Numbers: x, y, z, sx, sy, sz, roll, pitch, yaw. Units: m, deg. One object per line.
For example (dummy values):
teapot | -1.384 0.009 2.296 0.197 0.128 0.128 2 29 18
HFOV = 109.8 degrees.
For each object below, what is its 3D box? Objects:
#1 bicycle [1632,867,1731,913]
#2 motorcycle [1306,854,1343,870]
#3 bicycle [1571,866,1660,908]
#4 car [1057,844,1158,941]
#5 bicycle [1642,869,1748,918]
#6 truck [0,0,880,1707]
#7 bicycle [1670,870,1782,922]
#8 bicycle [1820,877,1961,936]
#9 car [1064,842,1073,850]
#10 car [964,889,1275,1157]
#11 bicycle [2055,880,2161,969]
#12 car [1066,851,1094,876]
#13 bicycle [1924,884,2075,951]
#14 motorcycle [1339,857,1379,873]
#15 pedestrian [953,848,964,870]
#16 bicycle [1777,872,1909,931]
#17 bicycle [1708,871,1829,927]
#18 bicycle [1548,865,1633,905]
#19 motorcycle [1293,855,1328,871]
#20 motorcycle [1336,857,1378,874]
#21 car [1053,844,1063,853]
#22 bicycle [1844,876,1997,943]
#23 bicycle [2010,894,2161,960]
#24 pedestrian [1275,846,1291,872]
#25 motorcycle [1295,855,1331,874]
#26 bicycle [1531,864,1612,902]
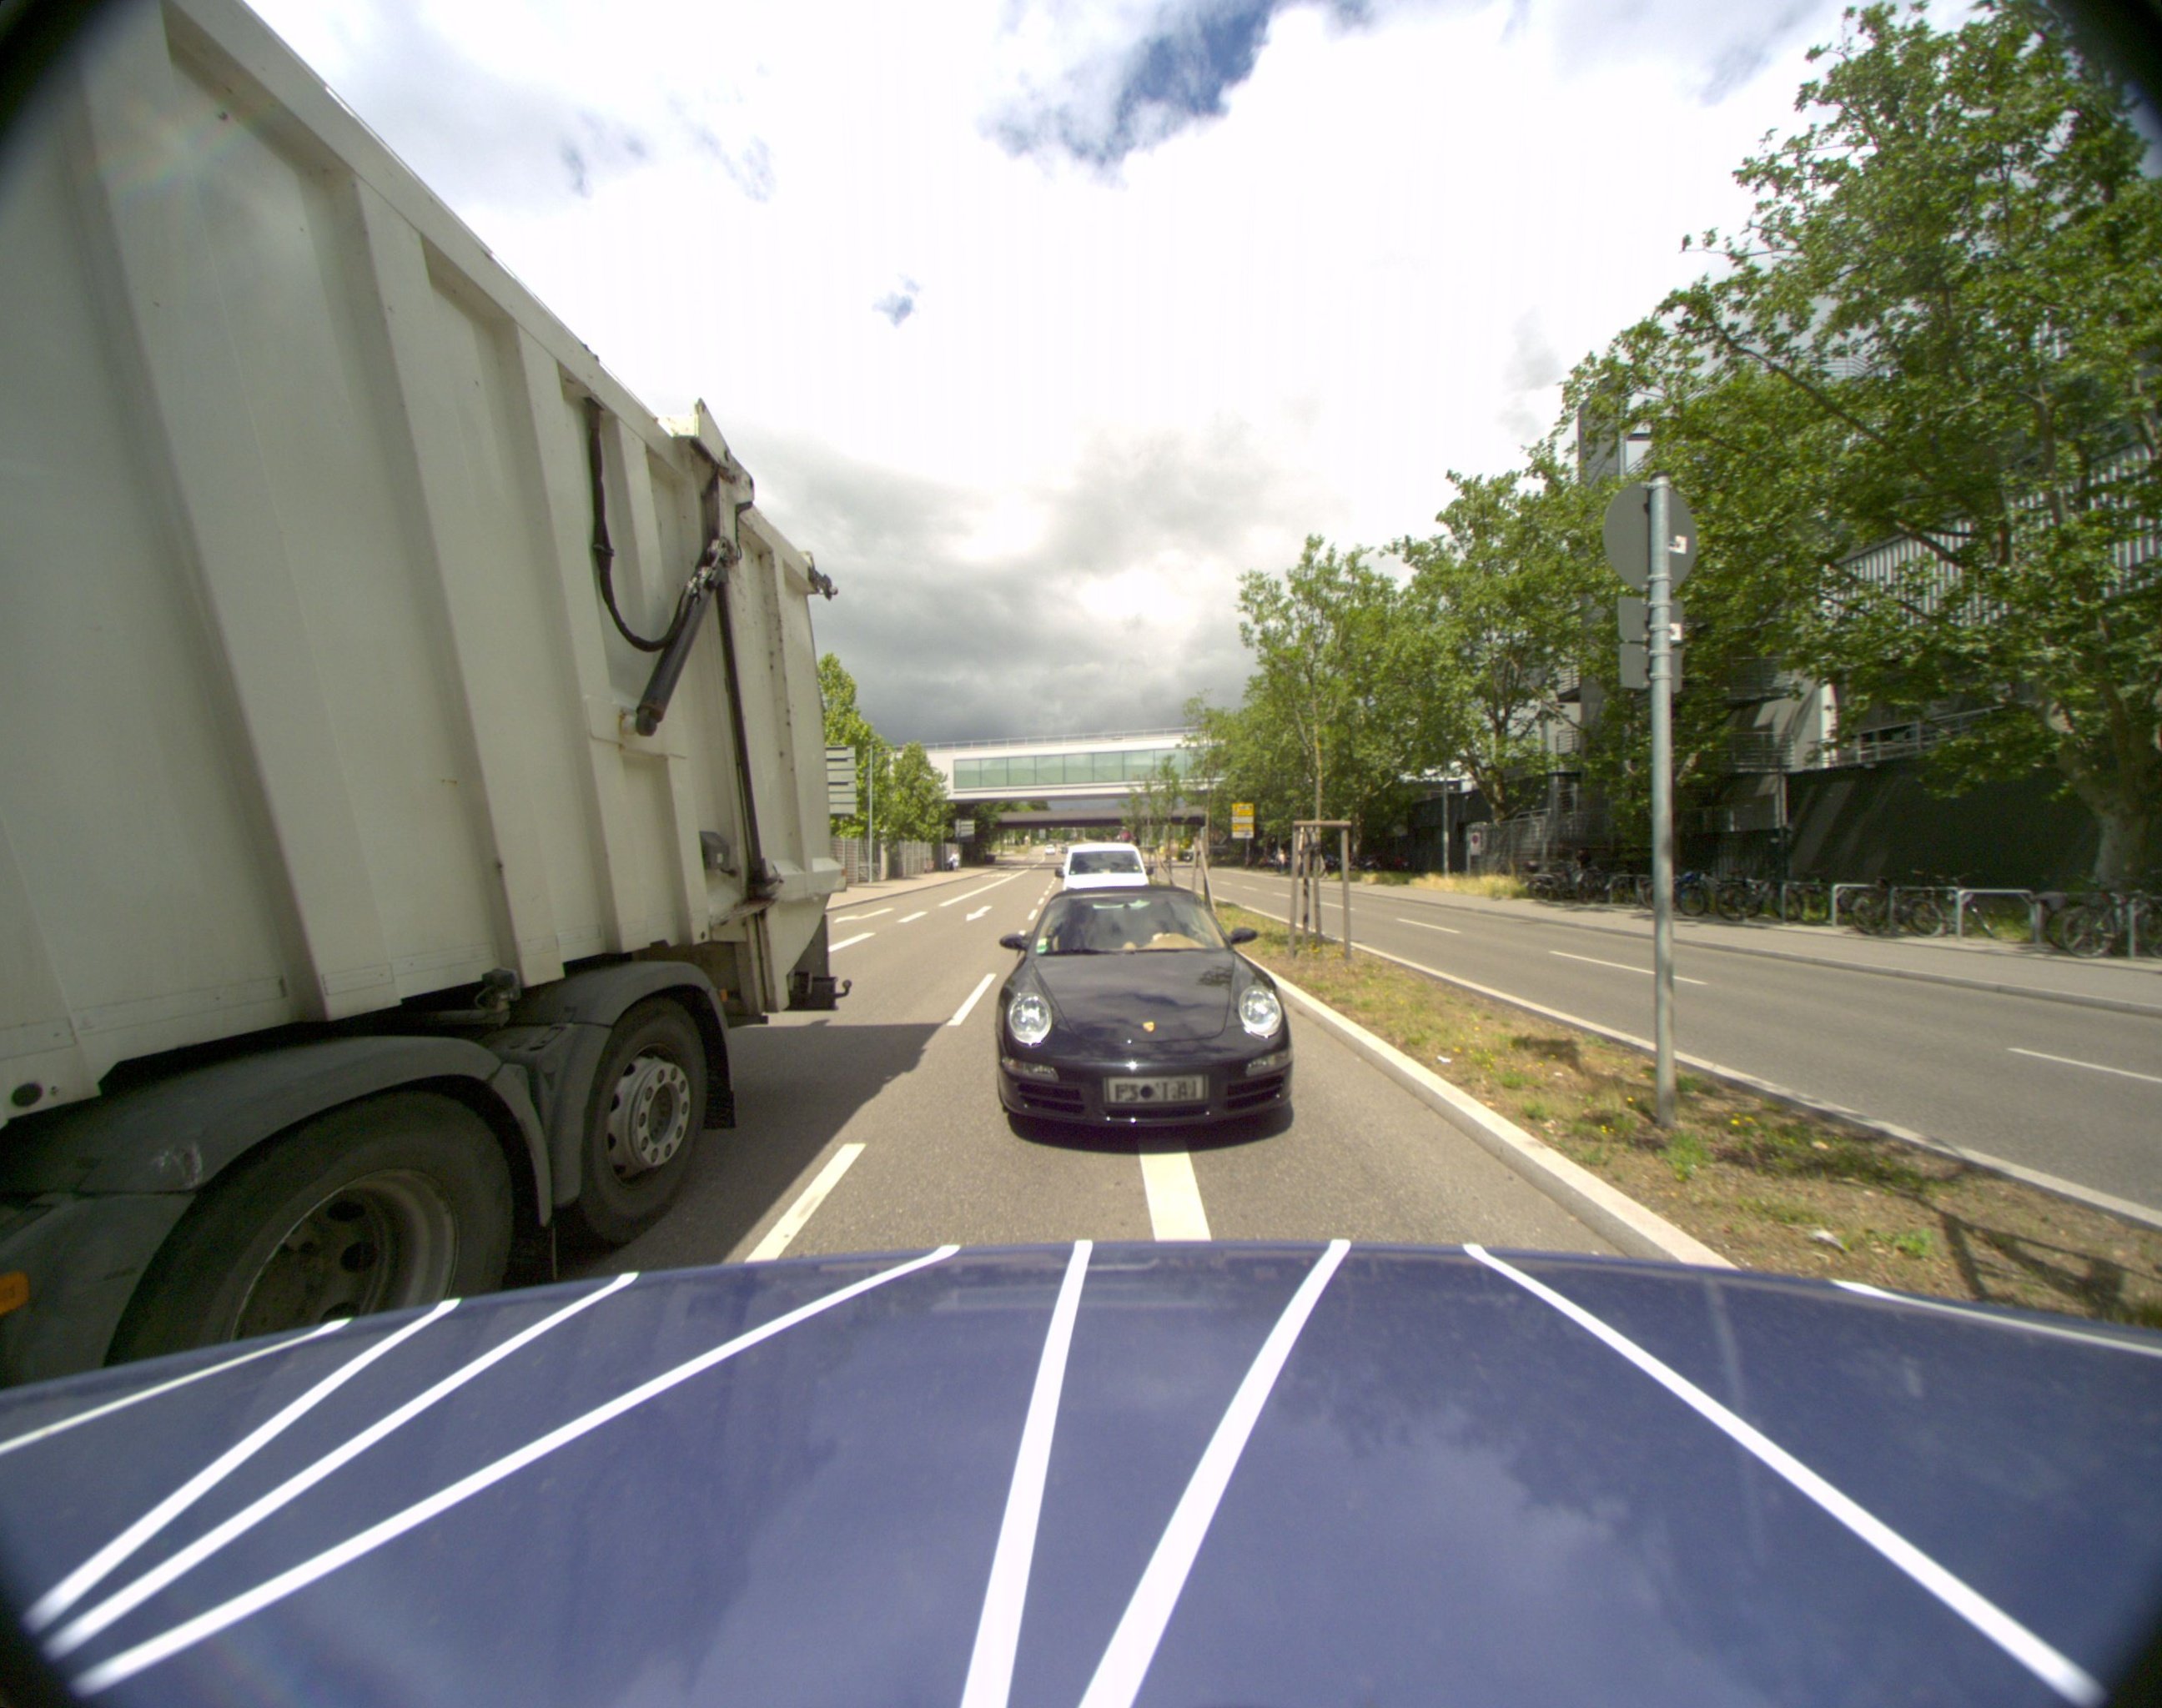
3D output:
bicycle | 15.067 0.898 19.083 2.129 1.104 0.382 -1 1 3
motorcycle | 15.288 0.500 47.741 2.133 0.963 0.534 -1 0 1
bicycle | 14.824 0.918 21.095 2.129 1.104 0.382 -1 1 3
car | 0.536 0.718 16.884 1.862 1.800 4.906 -1 0 1
bicycle | 14.507 0.927 17.968 2.129 1.104 0.382 -1 1 3
truck | -3.000 -0.255 1.283 2.495 3.890 10.172 -2 1 0
bicycle | 14.481 0.935 17.081 2.129 1.104 0.382 -1 1 3
bicycle | 15.013 0.971 14.112 2.129 1.025 0.382 -1 1 3
car | -2.980 -1.790 176.915 1.862 1.800 4.357 -3 0 1
car | 0.241 1.036 6.149 1.710 1.280 3.806 -1 0 1
bicycle | 14.356 0.930 10.234 1.993 1.121 0.382 -1 1 -1
car | -0.061 0.626 51.591 1.747 1.647 3.545 -1 0 0
bicycle | 14.755 1.016 12.216 1.993 0.992 0.382 -1 1 -1
motorcycle | 16.295 0.637 44.514 2.133 0.880 0.534 -1 0 1
pedestrian | -10.847 0.432 67.234 0.739 1.901 0.658 -2 1 -1
bicycle | 15.043 0.929 15.018 2.129 1.104 0.382 -1 1 3
bicycle | 14.502 0.946 16.057 2.129 1.104 0.382 -1 1 3
bicycle | 14.755 0.905 22.018 2.129 1.104 0.382 -1 1 3
motorcycle | 15.274 0.592 50.593 2.133 0.963 0.534 -1 0 1
motorcycle | 15.383 0.644 42.329 2.133 0.893 0.534 -1 0 1
car | -5.089 -1.191 168.171 1.925 2.082 4.657 -1 0 2
bicycle | 14.580 0.959 13.218 2.129 1.089 0.382 -1 1 3
bicycle | 14.958 1.074 11.237 1.993 0.885 0.382 -1 1 -1
pedestrian | 13.284 0.306 49.946 0.900 1.710 0.673 -1 1 1
motorcycle | 14.935 0.663 48.996 2.133 1.131 0.534 -1 0 1
bicycle | 14.750 0.869 22.859 2.129 1.104 0.382 -1 1 3
